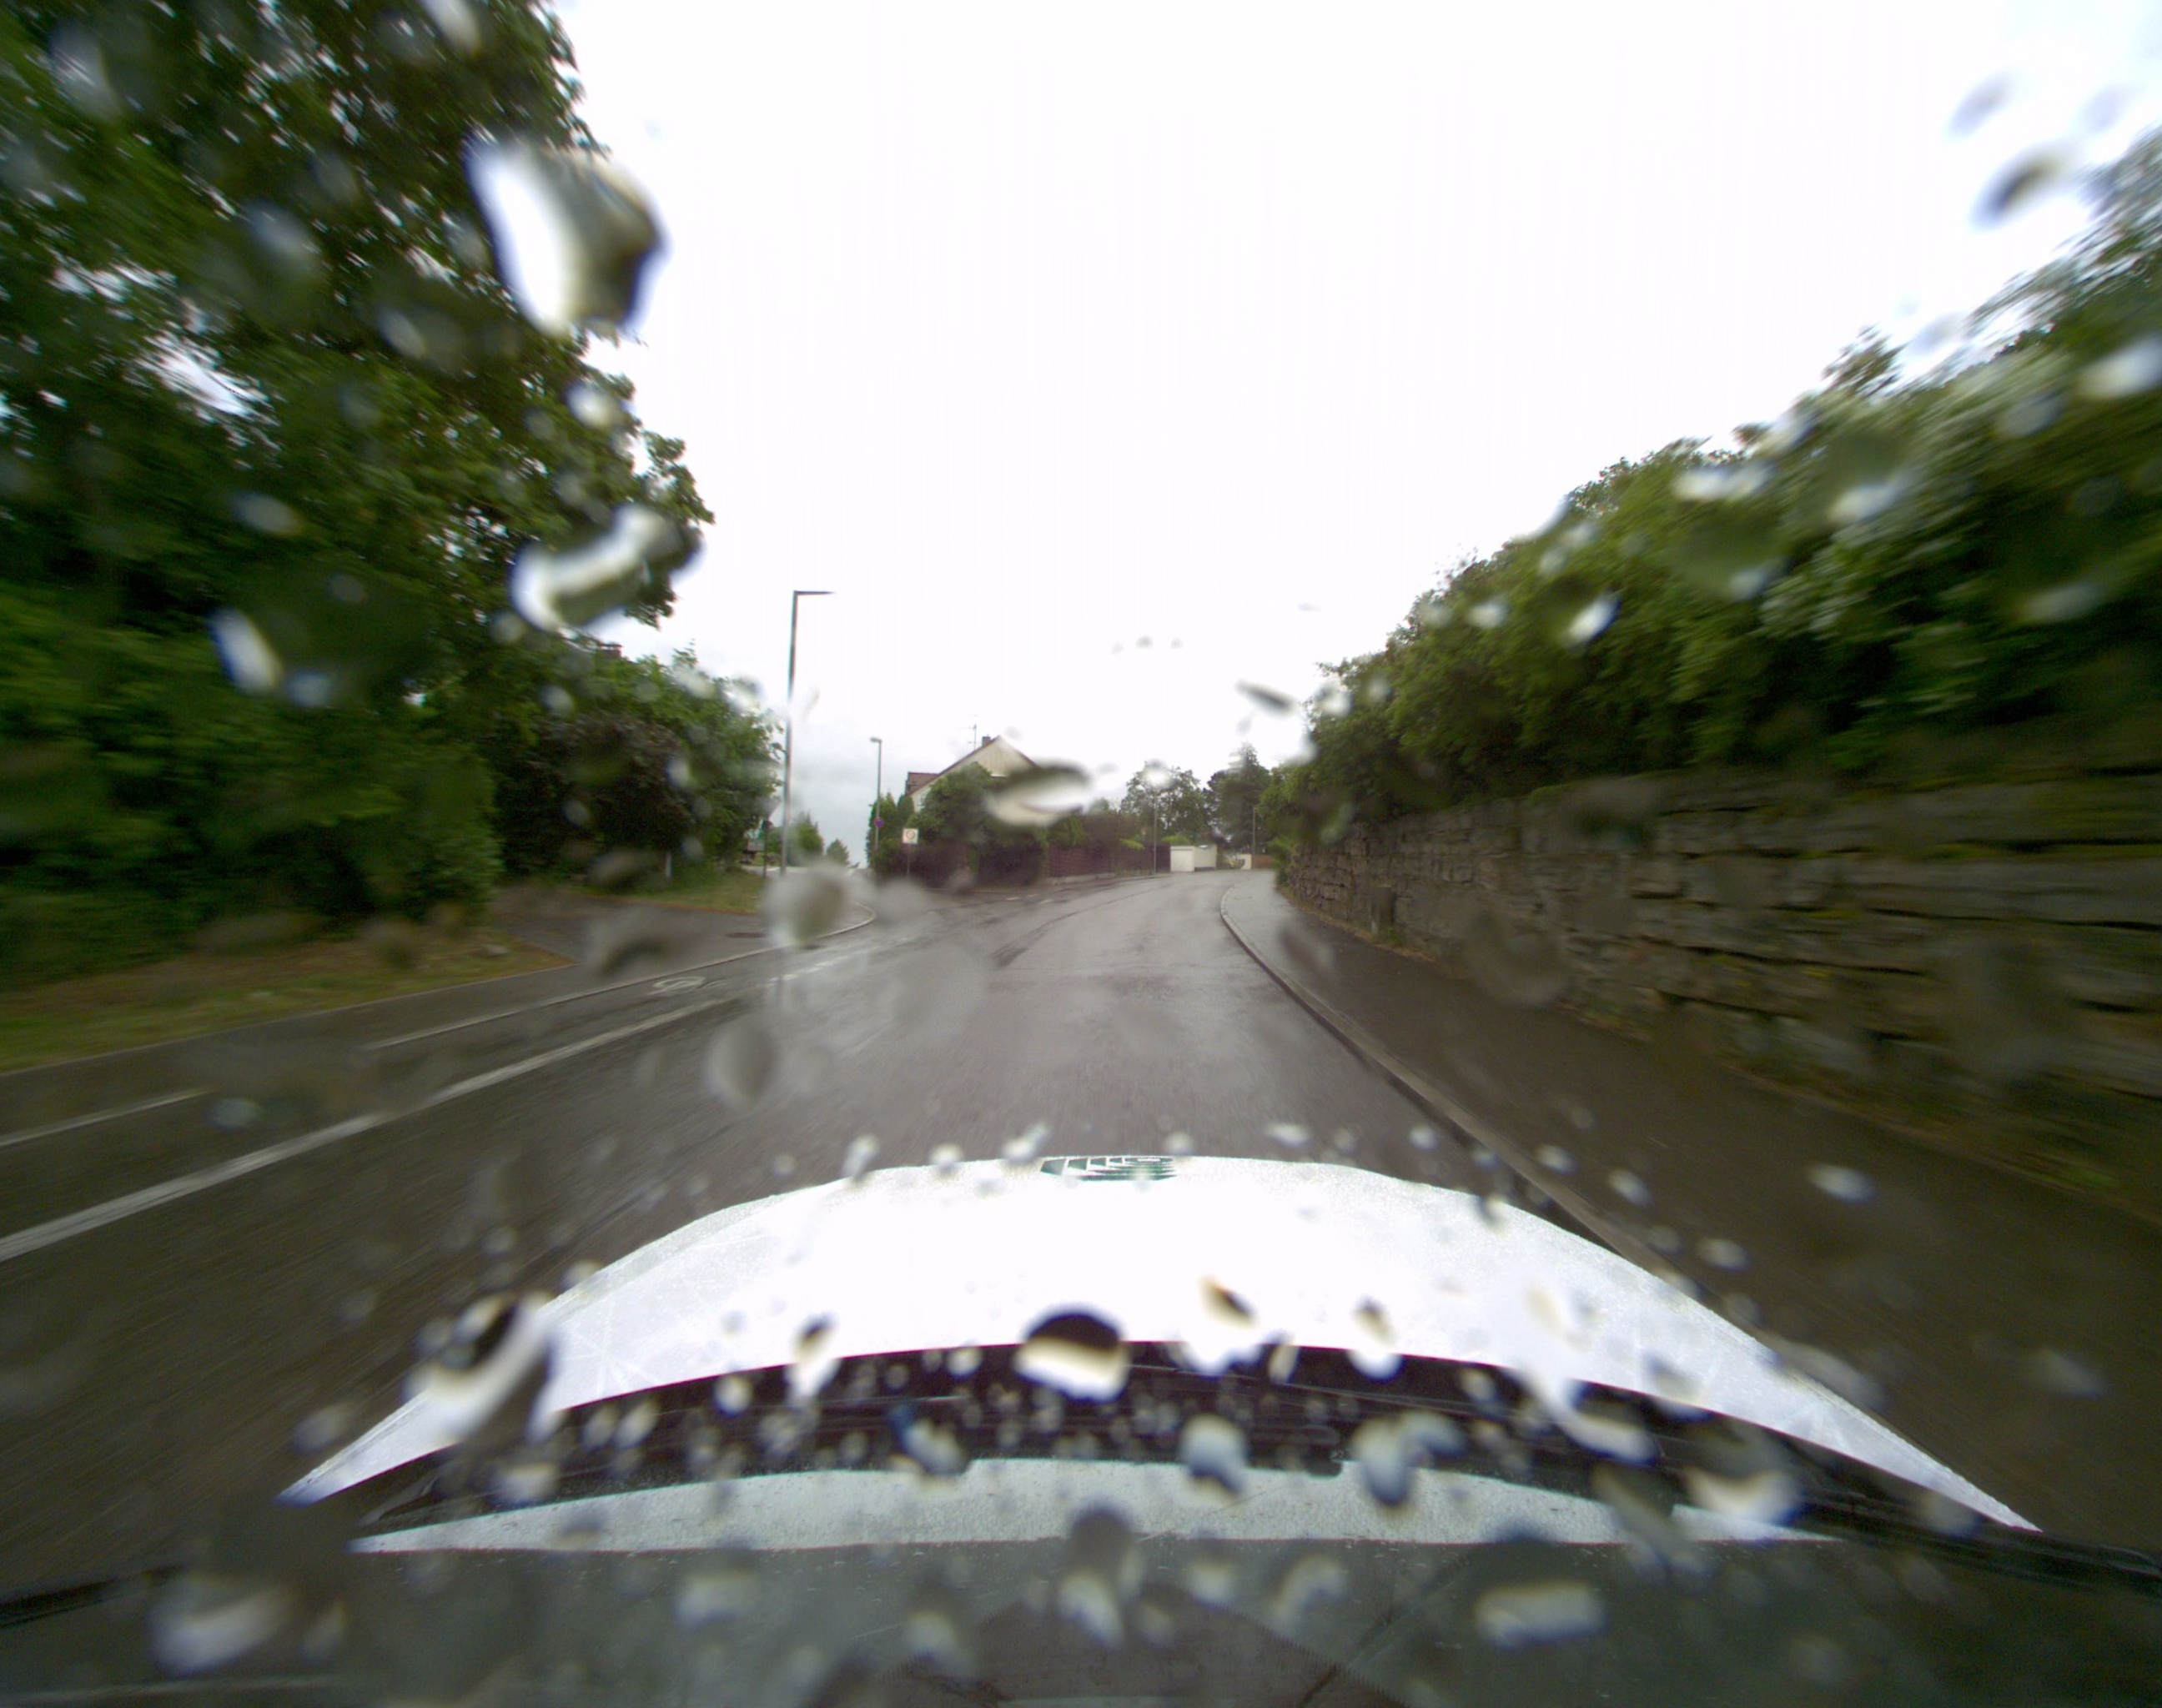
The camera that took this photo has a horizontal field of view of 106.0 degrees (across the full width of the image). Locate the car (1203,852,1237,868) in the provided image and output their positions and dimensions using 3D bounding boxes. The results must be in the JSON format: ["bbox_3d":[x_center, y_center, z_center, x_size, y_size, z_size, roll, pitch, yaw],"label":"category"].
[{"bbox_3d":[17.114,0.789,100.458,3.797,1.907,1.546,0,0,28],"label":"car"}]
